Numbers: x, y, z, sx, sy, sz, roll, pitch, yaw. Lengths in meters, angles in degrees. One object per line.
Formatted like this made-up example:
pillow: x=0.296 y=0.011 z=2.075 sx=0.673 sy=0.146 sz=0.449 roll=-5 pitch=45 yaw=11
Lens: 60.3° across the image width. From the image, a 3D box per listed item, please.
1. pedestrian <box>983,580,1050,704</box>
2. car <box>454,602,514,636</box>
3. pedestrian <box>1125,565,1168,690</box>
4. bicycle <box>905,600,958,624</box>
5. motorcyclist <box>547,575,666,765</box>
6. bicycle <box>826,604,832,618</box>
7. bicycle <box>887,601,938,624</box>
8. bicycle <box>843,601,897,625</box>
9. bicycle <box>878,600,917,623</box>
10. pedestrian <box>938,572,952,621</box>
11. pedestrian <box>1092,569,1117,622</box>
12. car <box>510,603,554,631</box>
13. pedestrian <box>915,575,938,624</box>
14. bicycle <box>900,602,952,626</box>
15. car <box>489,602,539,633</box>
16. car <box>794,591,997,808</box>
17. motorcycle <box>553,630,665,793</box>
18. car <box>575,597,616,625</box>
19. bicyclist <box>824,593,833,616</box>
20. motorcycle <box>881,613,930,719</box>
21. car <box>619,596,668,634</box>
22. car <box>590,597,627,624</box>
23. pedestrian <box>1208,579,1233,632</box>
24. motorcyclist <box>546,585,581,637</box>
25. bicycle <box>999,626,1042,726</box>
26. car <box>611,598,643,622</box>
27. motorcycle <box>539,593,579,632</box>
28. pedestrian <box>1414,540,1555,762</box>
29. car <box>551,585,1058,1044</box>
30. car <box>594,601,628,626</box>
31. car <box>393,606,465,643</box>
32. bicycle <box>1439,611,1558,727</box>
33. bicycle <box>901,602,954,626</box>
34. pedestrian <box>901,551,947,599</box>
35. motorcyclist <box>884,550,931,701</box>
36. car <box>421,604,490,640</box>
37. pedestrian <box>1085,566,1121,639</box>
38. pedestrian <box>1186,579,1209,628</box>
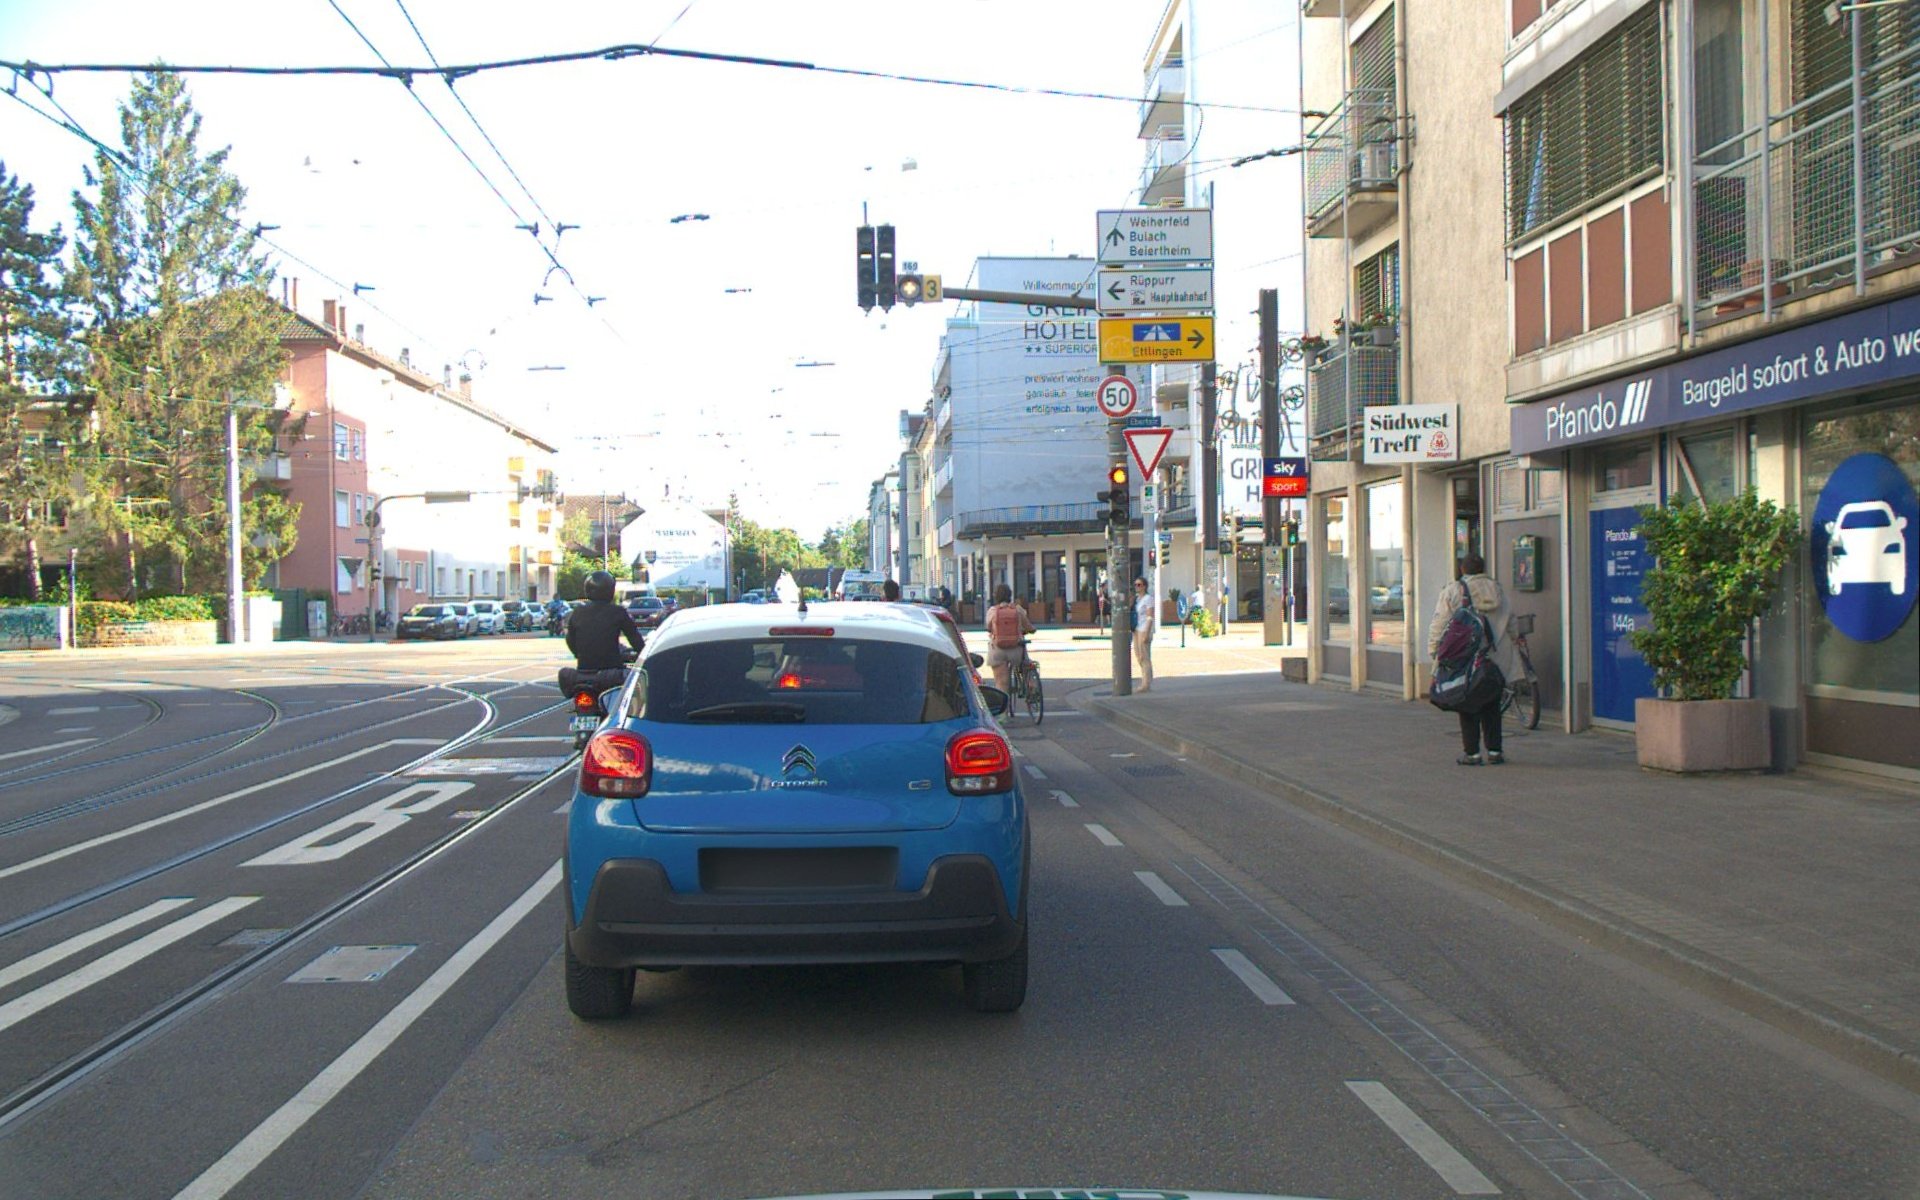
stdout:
pedestrian: x=0.685 y=0.504 z=20.244 sx=0.761 sy=1.486 sz=0.681 roll=1 pitch=-1 yaw=-1
car: x=-22.642 y=0.885 z=78.777 sx=1.751 sy=1.537 sz=4.148 roll=1 pitch=0 yaw=-2
pedestrian: x=2.744 y=0.400 z=24.371 sx=0.507 sy=1.814 sz=0.595 roll=1 pitch=-1 yaw=-3
bicycle: x=-1.129 y=0.485 z=65.891 sx=2.093 sy=0.917 sz=0.366 roll=1 pitch=-1 yaw=-10
motorcyclist: x=-2.930 y=0.572 z=13.765 sx=0.843 sy=1.531 sz=0.598 roll=1 pitch=-1 yaw=-1
bicycle: x=-8.582 y=0.724 z=108.195 sx=0.342 sy=0.919 sz=1.858 roll=1 pitch=0 yaw=-2
bicycle: x=-1.961 y=0.507 z=68.273 sx=2.093 sy=0.917 sz=0.366 roll=1 pitch=-1 yaw=-10
bicycle: x=-3.606 y=0.531 z=66.192 sx=2.093 sy=0.917 sz=0.366 roll=1 pitch=-1 yaw=-10
bicycle: x=-2.616 y=0.487 z=69.363 sx=1.751 sy=0.917 sz=0.365 roll=1 pitch=-1 yaw=34
pedestrian: x=-0.638 y=-0.155 z=70.280 sx=0.565 sy=2.049 sz=0.625 roll=1 pitch=-1 yaw=-3
pedestrian: x=5.635 y=-0.182 z=64.533 sx=0.743 sy=2.049 sz=0.710 roll=1 pitch=-1 yaw=30
car: x=-23.740 y=0.921 z=91.812 sx=1.699 sy=1.524 sz=3.996 roll=1 pitch=0 yaw=-5
pedestrian: x=-1.393 y=-0.014 z=69.158 sx=0.625 sy=2.049 sz=0.715 roll=1 pitch=-1 yaw=-36
bicycle: x=-1.378 y=0.563 z=67.414 sx=2.093 sy=0.917 sz=0.366 roll=1 pitch=-1 yaw=-10
car: x=-23.074 y=0.880 z=85.719 sx=1.750 sy=1.524 sz=3.997 roll=1 pitch=0 yaw=-4
car: x=-0.475 y=0.705 z=13.069 sx=1.395 sy=1.493 sz=2.923 roll=-1 pitch=0 yaw=-1
motorcycle: x=-2.927 y=0.892 z=13.940 sx=0.526 sy=1.240 sz=1.980 roll=1 pitch=0 yaw=-1
car: x=-23.365 y=0.702 z=106.245 sx=1.944 sy=1.716 sz=3.997 roll=1 pitch=0 yaw=-4
bicyclist: x=-8.540 y=0.302 z=107.712 sx=0.550 sy=1.503 sz=0.747 roll=1 pitch=-1 yaw=-4
motorcycle: x=-0.625 y=0.735 z=19.405 sx=0.515 sy=1.159 sz=2.289 roll=1 pitch=0 yaw=-1
car: x=-14.550 y=0.692 z=76.233 sx=1.740 sy=1.695 sz=3.853 roll=1 pitch=0 yaw=-4
car: x=-23.560 y=0.683 z=111.022 sx=1.845 sy=1.716 sz=3.997 roll=1 pitch=0 yaw=-4
pedestrian: x=8.407 y=0.181 z=53.385 sx=0.736 sy=1.686 sz=0.884 roll=1 pitch=-1 yaw=12
motorcyclist: x=-16.072 y=0.442 z=67.062 sx=1.162 sy=2.049 sz=1.274 roll=-1 pitch=0 yaw=-4
bicycle: x=0.737 y=0.908 z=20.477 sx=0.419 sy=1.142 sz=1.998 roll=1 pitch=0 yaw=-1
car: x=-24.312 y=0.712 z=120.876 sx=1.809 sy=1.716 sz=3.871 roll=1 pitch=0 yaw=-4
motorcycle: x=-16.132 y=0.476 z=66.594 sx=0.905 sy=1.512 sz=3.723 roll=1 pitch=0 yaw=-4
pedestrian: x=3.972 y=0.378 z=12.576 sx=0.808 sy=1.620 sz=0.751 roll=1 pitch=-1 yaw=-1
car: x=-0.527 y=0.706 z=7.139 sx=1.620 sy=1.469 sz=3.522 roll=1 pitch=0 yaw=-1
car: x=-24.500 y=0.958 z=116.243 sx=1.797 sy=1.716 sz=3.997 roll=1 pitch=0 yaw=-4
car: x=-21.929 y=0.981 z=68.459 sx=1.757 sy=1.446 sz=3.994 roll=1 pitch=0 yaw=-1
bicycle: x=5.042 y=0.619 z=15.567 sx=0.531 sy=1.016 sz=1.705 roll=1 pitch=0 yaw=-1
bicycle: x=-1.317 y=0.574 z=67.012 sx=2.093 sy=0.917 sz=0.366 roll=1 pitch=-1 yaw=-10
pedestrian: x=-1.600 y=-1.079 z=73.514 sx=1.953 sy=2.049 sz=3.999 roll=1 pitch=0 yaw=-1
motorcyclist: x=-0.617 y=0.294 z=19.595 sx=0.516 sy=1.746 sz=0.717 roll=1 pitch=-1 yaw=-1
car: x=-22.334 y=0.957 z=73.335 sx=1.778 sy=1.524 sz=4.299 roll=1 pitch=0 yaw=-1
pedestrian: x=4.059 y=0.076 z=46.973 sx=0.907 sy=2.049 sz=0.759 roll=1 pitch=-1 yaw=-1
pedestrian: x=7.995 y=0.106 z=55.654 sx=0.720 sy=1.629 sz=0.749 roll=1 pitch=-1 yaw=12
